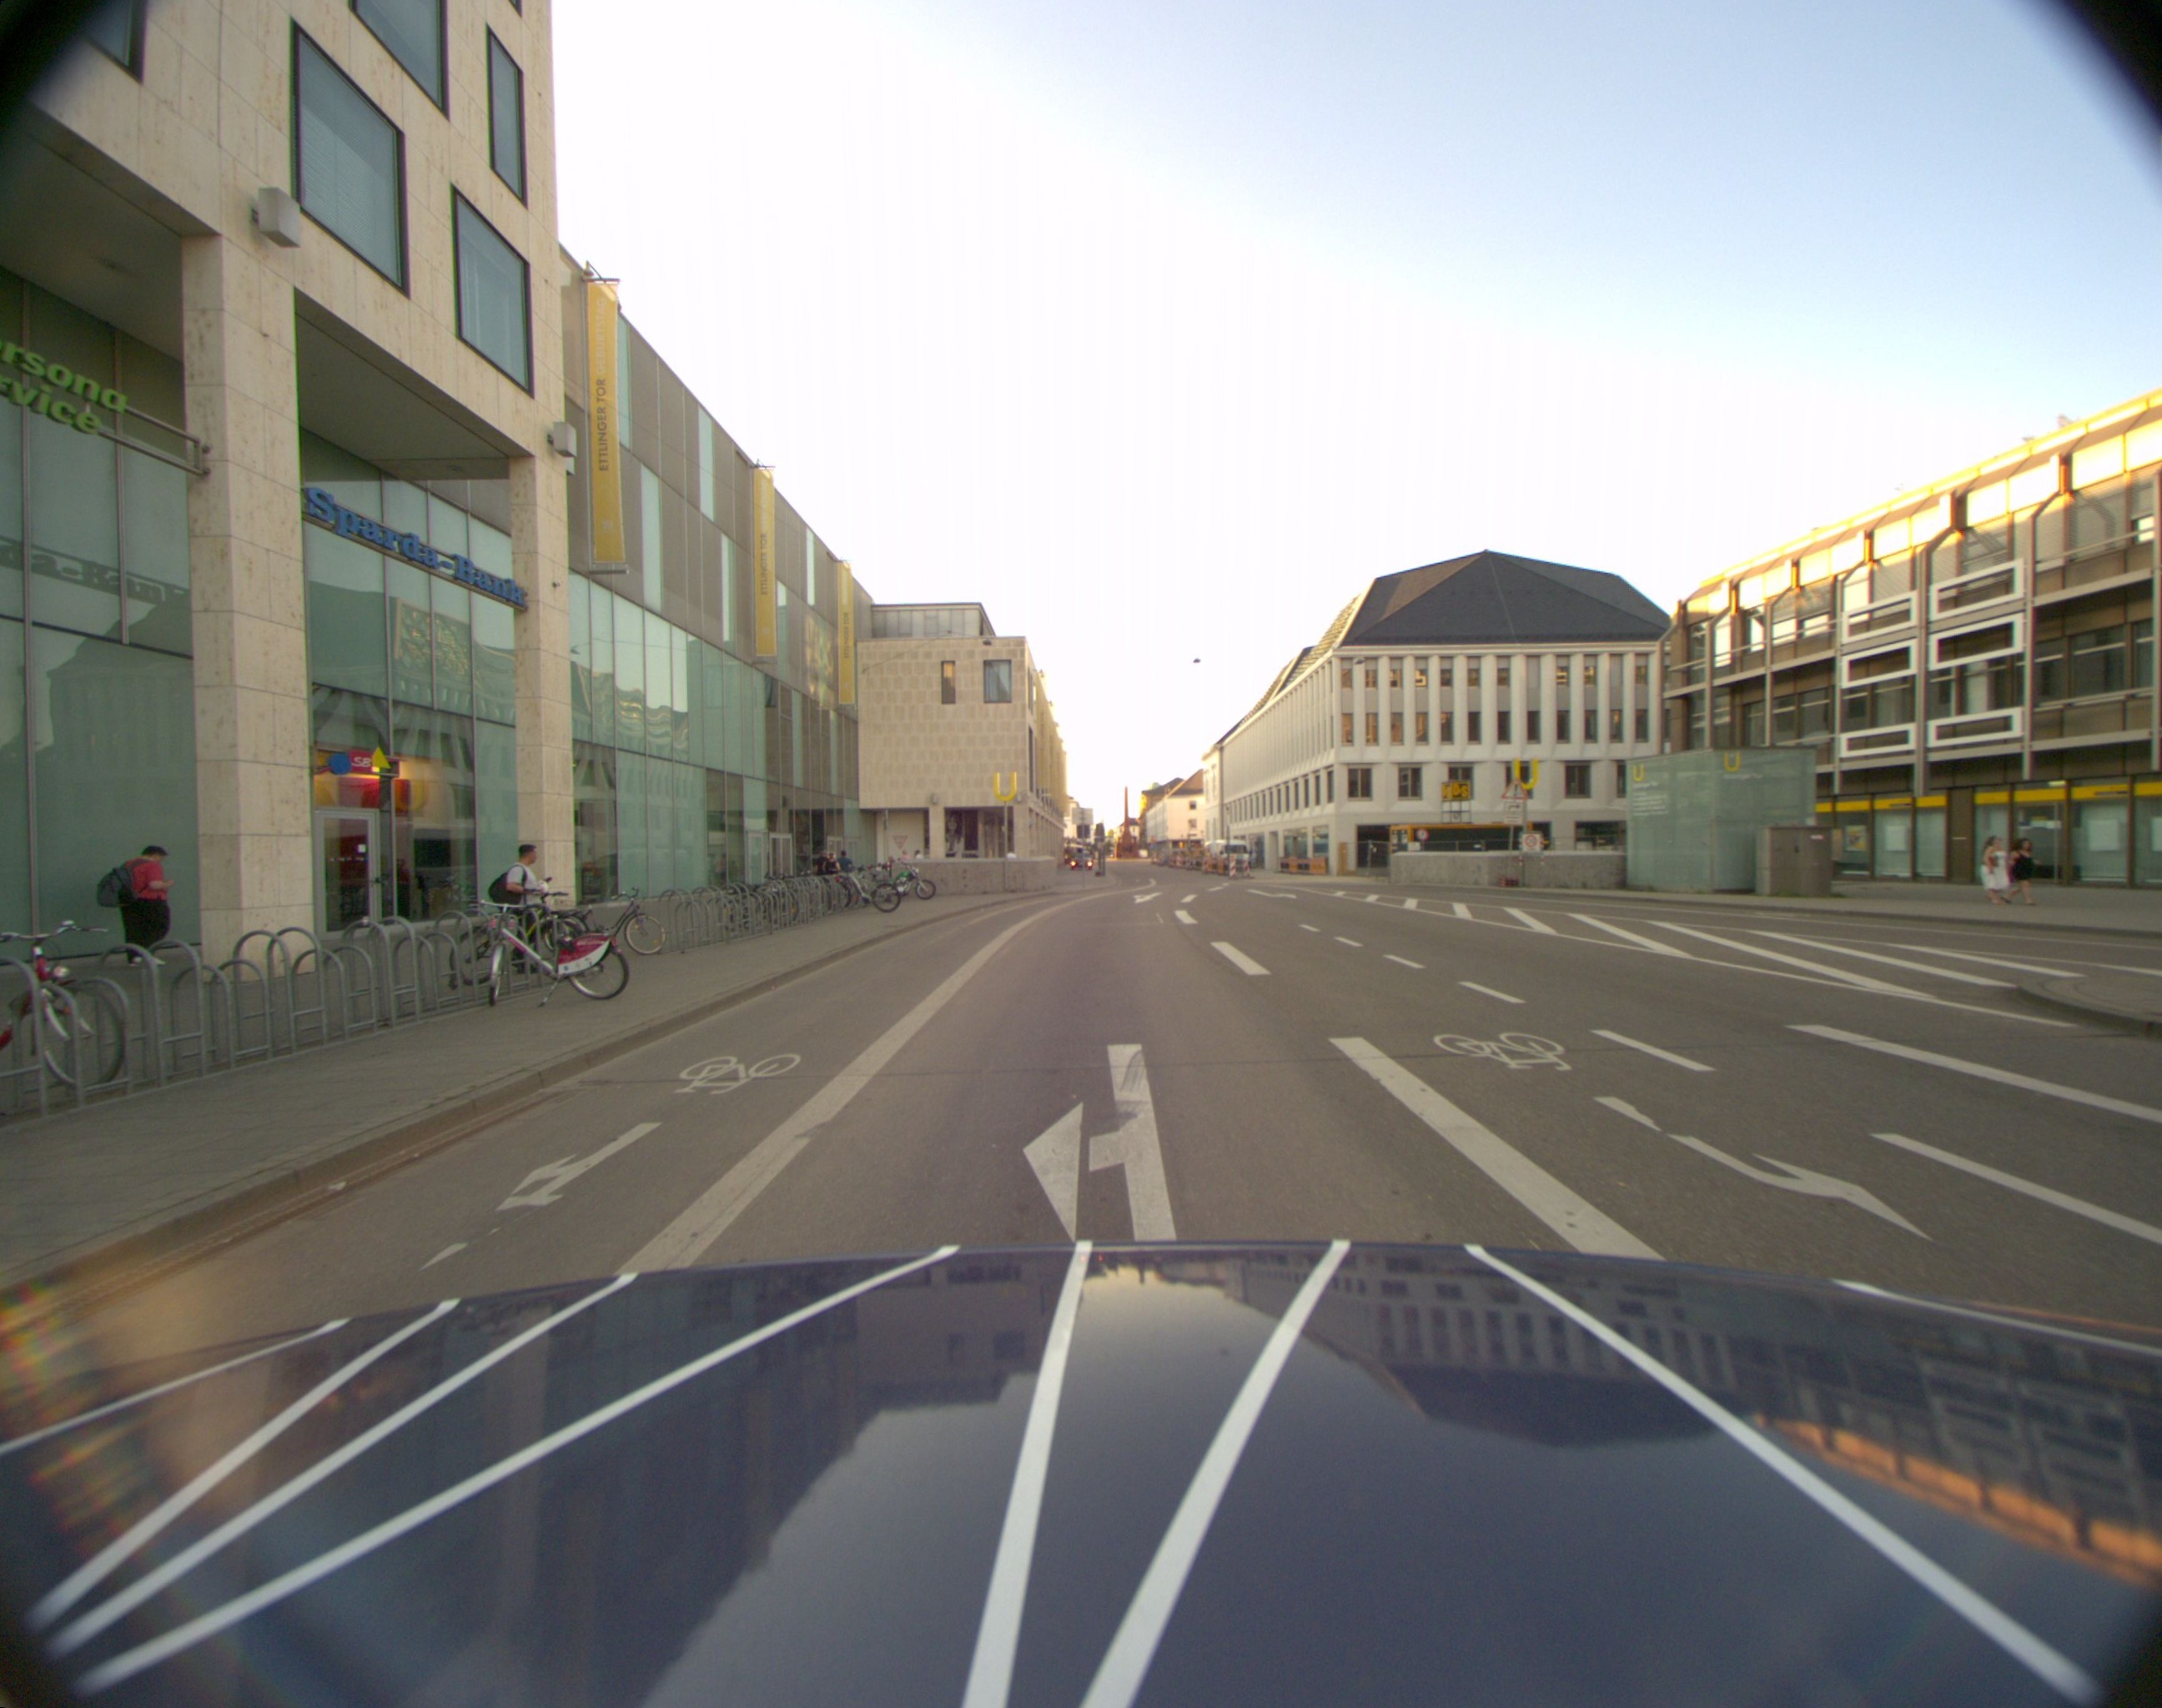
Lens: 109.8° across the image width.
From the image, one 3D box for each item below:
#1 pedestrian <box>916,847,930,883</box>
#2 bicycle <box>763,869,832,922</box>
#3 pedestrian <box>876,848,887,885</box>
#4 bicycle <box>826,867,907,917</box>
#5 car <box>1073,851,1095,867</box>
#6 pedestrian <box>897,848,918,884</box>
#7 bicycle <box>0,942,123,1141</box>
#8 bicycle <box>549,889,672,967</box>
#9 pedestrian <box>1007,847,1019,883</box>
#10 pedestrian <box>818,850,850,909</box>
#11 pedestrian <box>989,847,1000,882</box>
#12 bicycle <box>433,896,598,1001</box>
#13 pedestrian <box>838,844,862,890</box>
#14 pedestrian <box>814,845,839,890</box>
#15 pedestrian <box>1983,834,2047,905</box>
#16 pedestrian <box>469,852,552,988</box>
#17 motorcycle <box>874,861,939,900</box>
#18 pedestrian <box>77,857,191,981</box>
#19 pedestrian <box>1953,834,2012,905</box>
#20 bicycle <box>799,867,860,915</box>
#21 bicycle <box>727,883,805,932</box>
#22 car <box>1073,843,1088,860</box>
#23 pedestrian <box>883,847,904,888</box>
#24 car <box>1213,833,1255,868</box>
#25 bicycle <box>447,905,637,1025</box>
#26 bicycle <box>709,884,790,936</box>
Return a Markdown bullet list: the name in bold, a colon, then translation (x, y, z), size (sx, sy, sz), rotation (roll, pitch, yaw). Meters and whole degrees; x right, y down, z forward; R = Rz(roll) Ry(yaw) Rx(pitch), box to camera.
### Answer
- **pedestrian**: translation (-7.724, 0.541, 37.234), size (0.494, 1.734, 0.656), rotation (-1, 1, 3)
- **bicycle**: translation (-6.625, 0.965, 17.786), size (1.345, 1.157, 0.518), rotation (-3, 1, -1)
- **pedestrian**: translation (-9.637, 0.596, 36.719), size (0.364, 1.734, 0.452), rotation (-1, 1, 3)
- **bicycle**: translation (-5.355, 0.942, 19.029), size (1.838, 1.140, 0.466), rotation (-3, 1, 1)
- **car**: translation (0.297, 0.414, 68.327), size (1.798, 1.365, 3.671), rotation (-1, 0, 2)
- **pedestrian**: translation (-8.411, 0.577, 36.855), size (0.793, 1.734, 0.656), rotation (-1, 1, 3)
- **bicycle**: translation (-7.082, 1.168, 4.686), size (1.519, 1.099, 0.552), rotation (-3, 1, -2)
- **bicycle**: translation (-7.260, 1.130, 11.783), size (1.447, 1.058, 0.580), rotation (-3, 1, -10)
- **pedestrian**: translation (-3.289, 0.537, 36.804), size (0.516, 1.734, 0.492), rotation (-1, 1, 3)
- **pedestrian**: translation (-7.064, 0.718, 21.742), size (0.809, 1.633, 0.646), rotation (-1, 1, -18)
- **pedestrian**: translation (-4.264, 0.499, 37.484), size (0.454, 1.734, 0.492), rotation (-1, 1, 3)
- **bicycle**: translation (-6.752, 1.112, 9.103), size (1.518, 1.117, 0.580), rotation (-3, 1, 4)
- **pedestrian**: translation (-8.689, 0.470, 28.547), size (0.698, 1.686, 0.820), rotation (-1, 1, -7)
- **pedestrian**: translation (-9.482, 0.507, 28.296), size (0.741, 1.638, 0.819), rotation (-1, 1, -9)
- **pedestrian**: translation (21.738, 0.351, 17.691), size (0.616, 1.630, 0.702), rotation (-1, 1, 1)
- **pedestrian**: translation (-7.406, 0.826, 9.896), size (0.709, 1.682, 0.628), rotation (-1, 1, -24)
- **motorcycle**: translation (-5.685, 0.868, 24.793), size (2.007, 1.217, 0.480), rotation (-1, 1, -3)
- **pedestrian**: translation (-12.992, 0.863, 10.445), size (0.629, 1.642, 0.708), rotation (-1, 1, 2)
- **pedestrian**: translation (21.076, 0.364, 17.777), size (0.670, 1.630, 0.584), rotation (-1, 1, 1)
- **bicycle**: translation (-6.571, 0.962, 19.872), size (1.345, 1.157, 0.518), rotation (-3, 1, -1)
- **bicycle**: translation (-6.559, 1.109, 15.860), size (1.345, 0.927, 0.518), rotation (-3, 1, -1)
- **car**: translation (-0.003, -0.392, 101.198), size (1.798, 2.199, 3.671), rotation (-1, 1, 2)
- **pedestrian**: translation (-8.166, 0.563, 33.102), size (0.619, 1.770, 0.812), rotation (-1, 1, 3)
- **car**: translation (11.967, -0.291, 59.875), size (2.141, 2.541, 6.049), rotation (-1, 1, 1)
- **bicycle**: translation (-5.351, 1.095, 7.579), size (1.518, 1.057, 0.466), rotation (-3, 1, 1)
- **bicycle**: translation (-6.617, 1.109, 15.214), size (1.345, 0.927, 0.518), rotation (-3, 1, -1)
